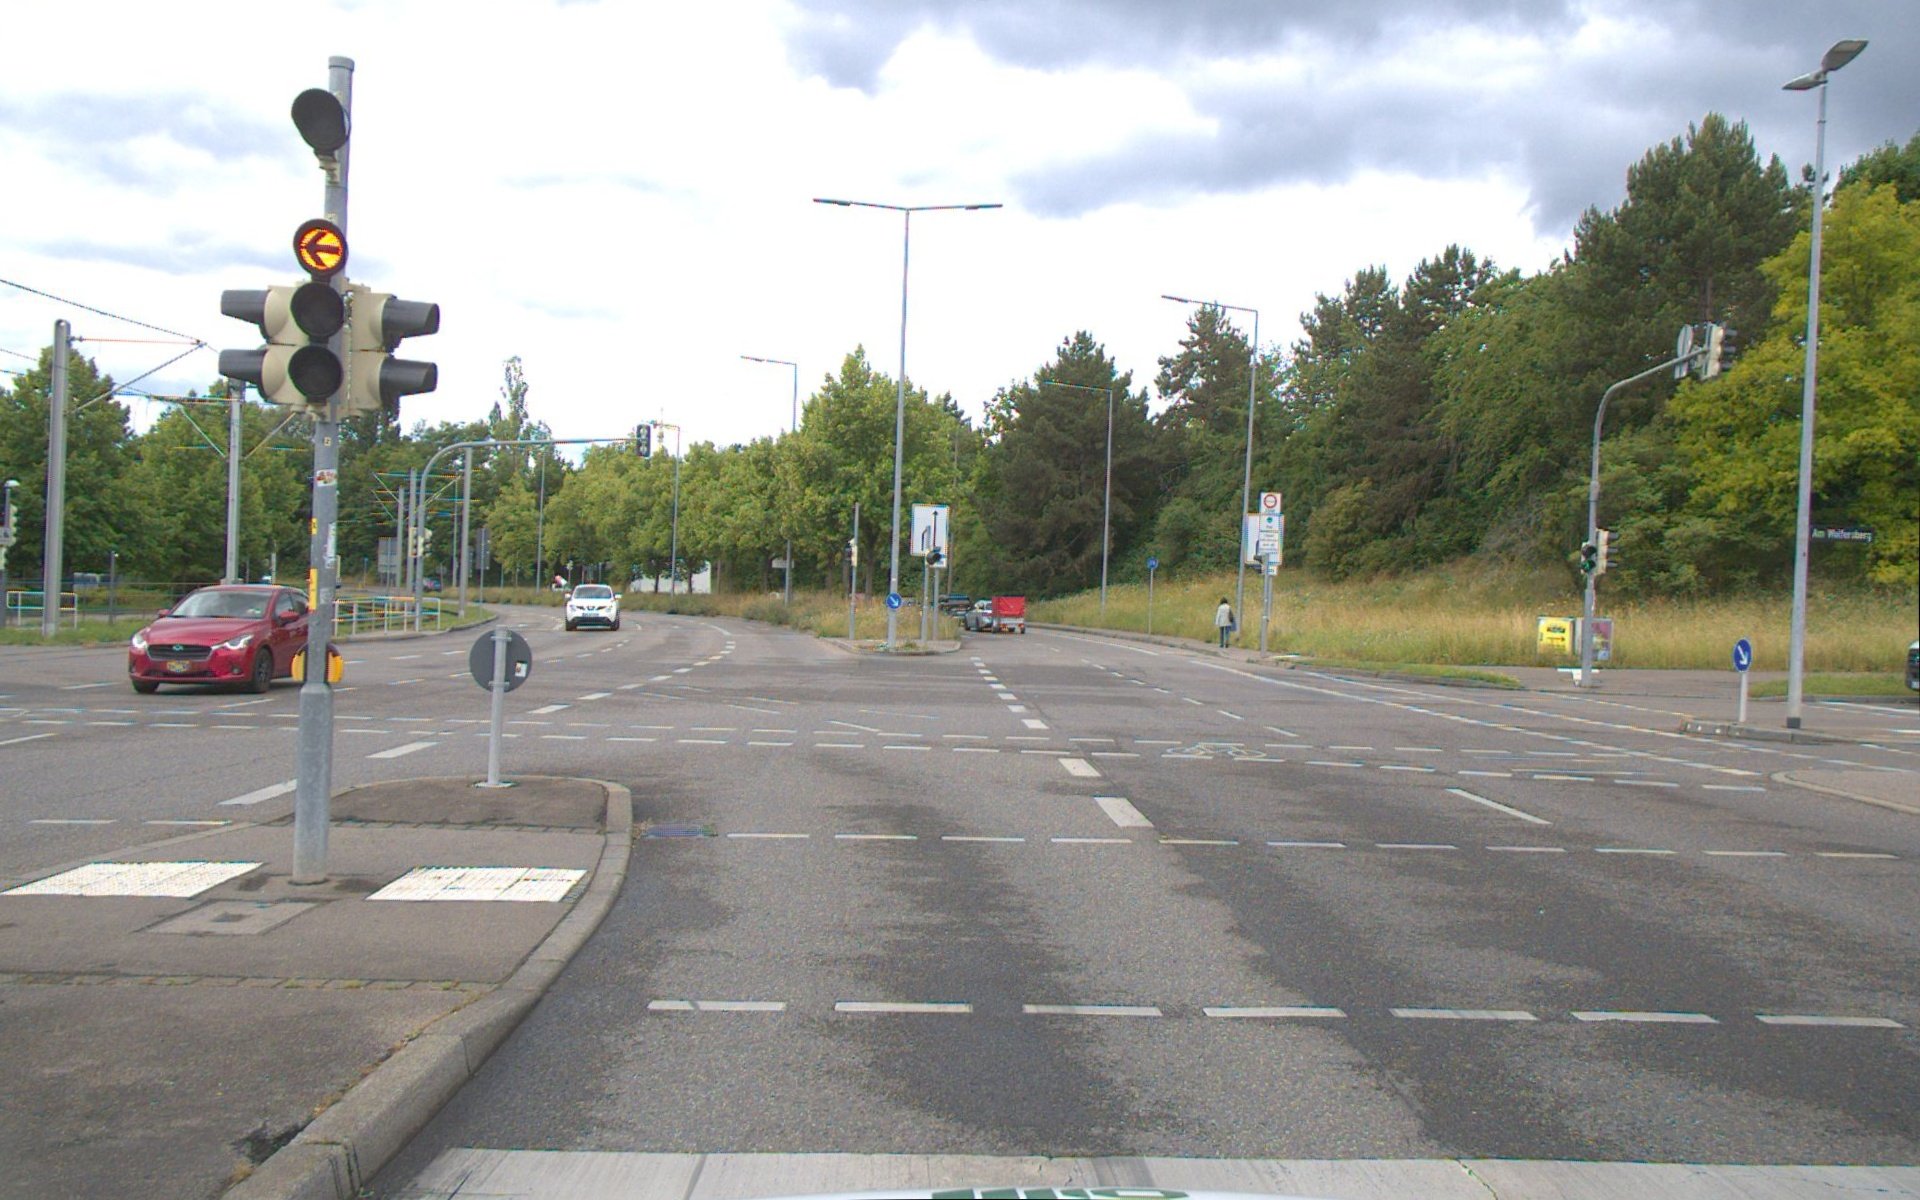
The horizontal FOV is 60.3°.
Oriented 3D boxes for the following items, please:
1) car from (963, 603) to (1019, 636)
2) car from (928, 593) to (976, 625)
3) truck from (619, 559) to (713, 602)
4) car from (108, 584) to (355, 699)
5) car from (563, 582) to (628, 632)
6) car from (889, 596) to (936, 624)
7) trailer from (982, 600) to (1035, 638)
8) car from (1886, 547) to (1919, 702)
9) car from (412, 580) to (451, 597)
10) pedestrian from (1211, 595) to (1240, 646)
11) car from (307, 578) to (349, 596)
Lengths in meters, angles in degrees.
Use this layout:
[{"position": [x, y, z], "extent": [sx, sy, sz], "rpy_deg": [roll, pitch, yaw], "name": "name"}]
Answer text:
[{"position": [1.437, 0.904, 78.103], "extent": [1.746, 1.446, 4.447], "rpy_deg": [1, 0, -11], "name": "car"}, {"position": [-0.455, 0.460, 87.632], "extent": [1.747, 1.573, 4.012], "rpy_deg": [1, 0, -13], "name": "car"}, {"position": [-23.913, -1.605, 134.083], "extent": [2.719, 3.387, 11.256], "rpy_deg": [1, 1, -37], "name": "truck"}, {"position": [-10.199, 0.526, 23.534], "extent": [1.745, 1.468, 4.423], "rpy_deg": [0, 0, -3], "name": "car"}, {"position": [-12.715, 0.226, 57.860], "extent": [1.794, 1.657, 4.419], "rpy_deg": [0, 0, -7], "name": "car"}, {"position": [-2.839, 0.560, 97.513], "extent": [1.750, 1.573, 4.006], "rpy_deg": [1, 0, -17], "name": "car"}, {"position": [2.162, 0.847, 74.438], "extent": [1.733, 1.644, 3.035], "rpy_deg": [1, 0, -11], "name": "trailer"}, {"position": [20.337, 0.468, 30.094], "extent": [5.772, 2.830, 2.135], "rpy_deg": [0, 0, -1], "name": "car"}, {"position": [-51.552, -1.150, 161.375], "extent": [3.948, 1.573, 1.775], "rpy_deg": [1, 0, 39], "name": "car"}, {"position": [8.796, 0.677, 54.875], "extent": [0.797, 1.656, 0.790], "rpy_deg": [1, 0, -1], "name": "pedestrian"}, {"position": [-64.794, -1.334, 169.568], "extent": [3.913, 1.713, 1.996], "rpy_deg": [1, 0, 30], "name": "car"}]
